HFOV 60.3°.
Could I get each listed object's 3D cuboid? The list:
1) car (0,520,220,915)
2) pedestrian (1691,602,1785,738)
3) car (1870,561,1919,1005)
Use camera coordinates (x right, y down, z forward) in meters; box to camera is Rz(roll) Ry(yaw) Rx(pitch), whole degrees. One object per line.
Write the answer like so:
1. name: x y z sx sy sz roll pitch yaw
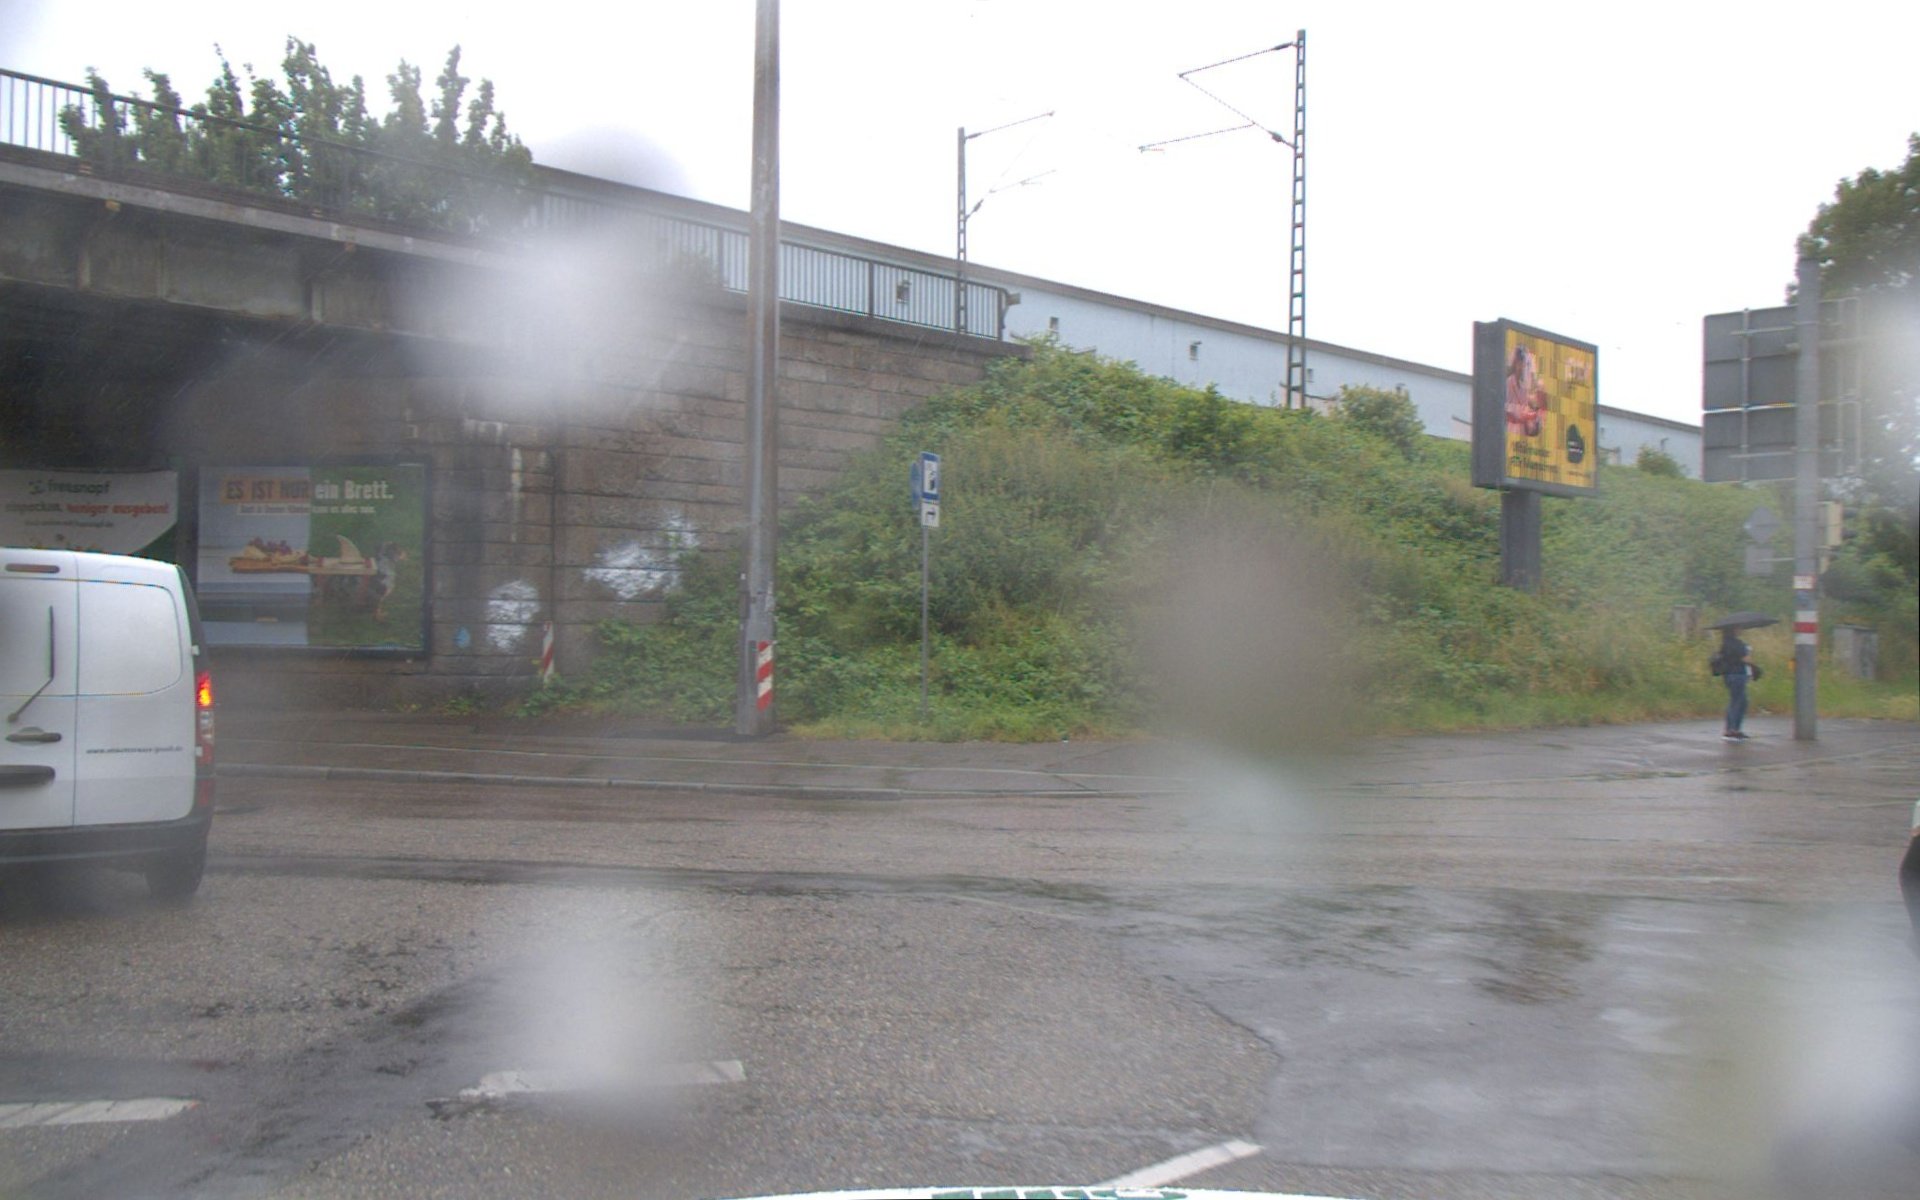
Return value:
1. car: -5.534 0.559 9.223 1.743 1.808 3.947 -1 0 -37
2. pedestrian: 10.415 0.914 22.133 0.985 1.749 0.816 0 0 37
3. car: 4.542 0.642 4.181 1.836 1.550 4.078 0 0 -9
